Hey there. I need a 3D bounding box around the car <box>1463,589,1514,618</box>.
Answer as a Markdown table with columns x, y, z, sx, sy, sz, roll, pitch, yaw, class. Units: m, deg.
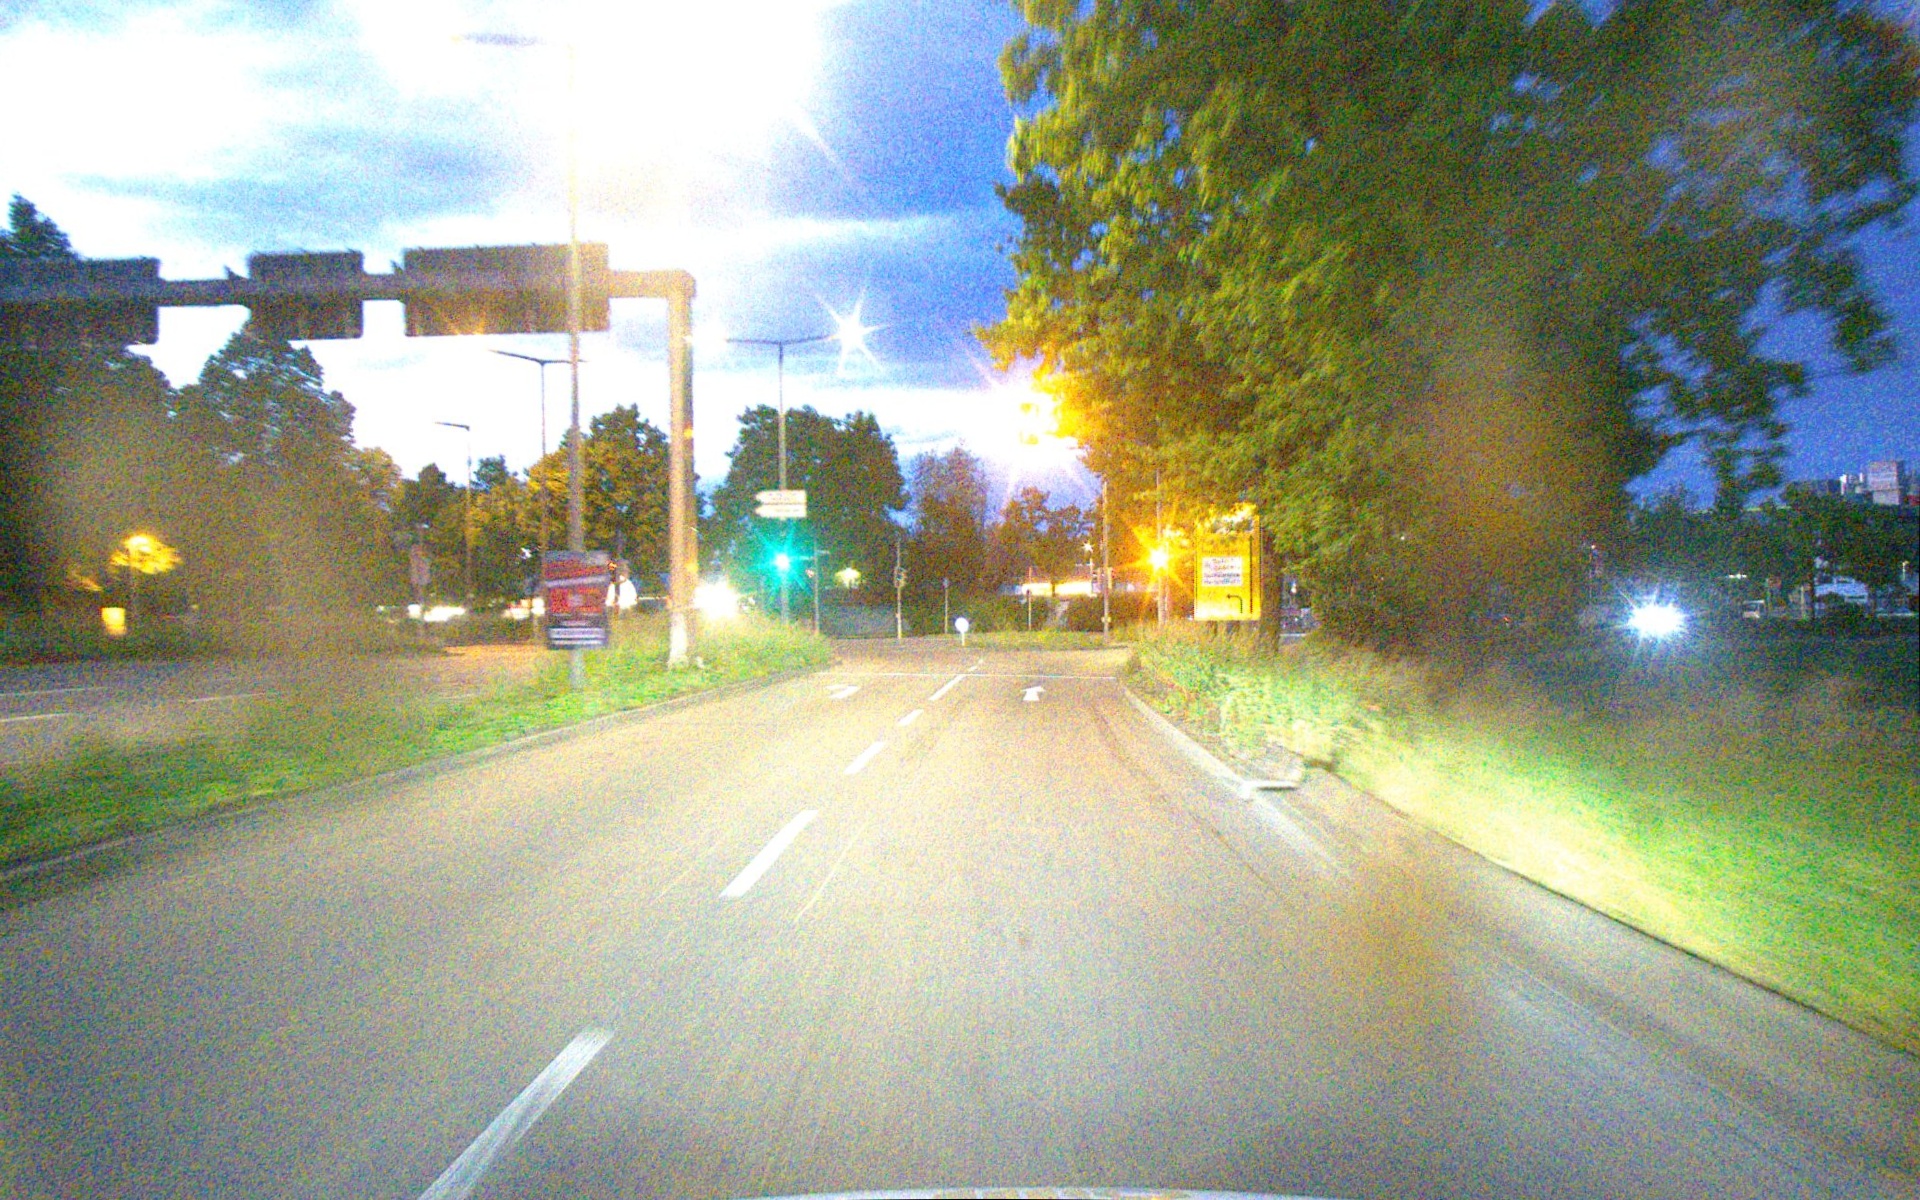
| x | y | z | sx | sy | sz | roll | pitch | yaw | class |
| --- | --- | --- | --- | --- | --- | --- | --- | --- | --- |
| 40.327 | 0.213 | 126.184 | 3.965 | 2.048 | 1.970 | -2 | 2 | -42 | car |
